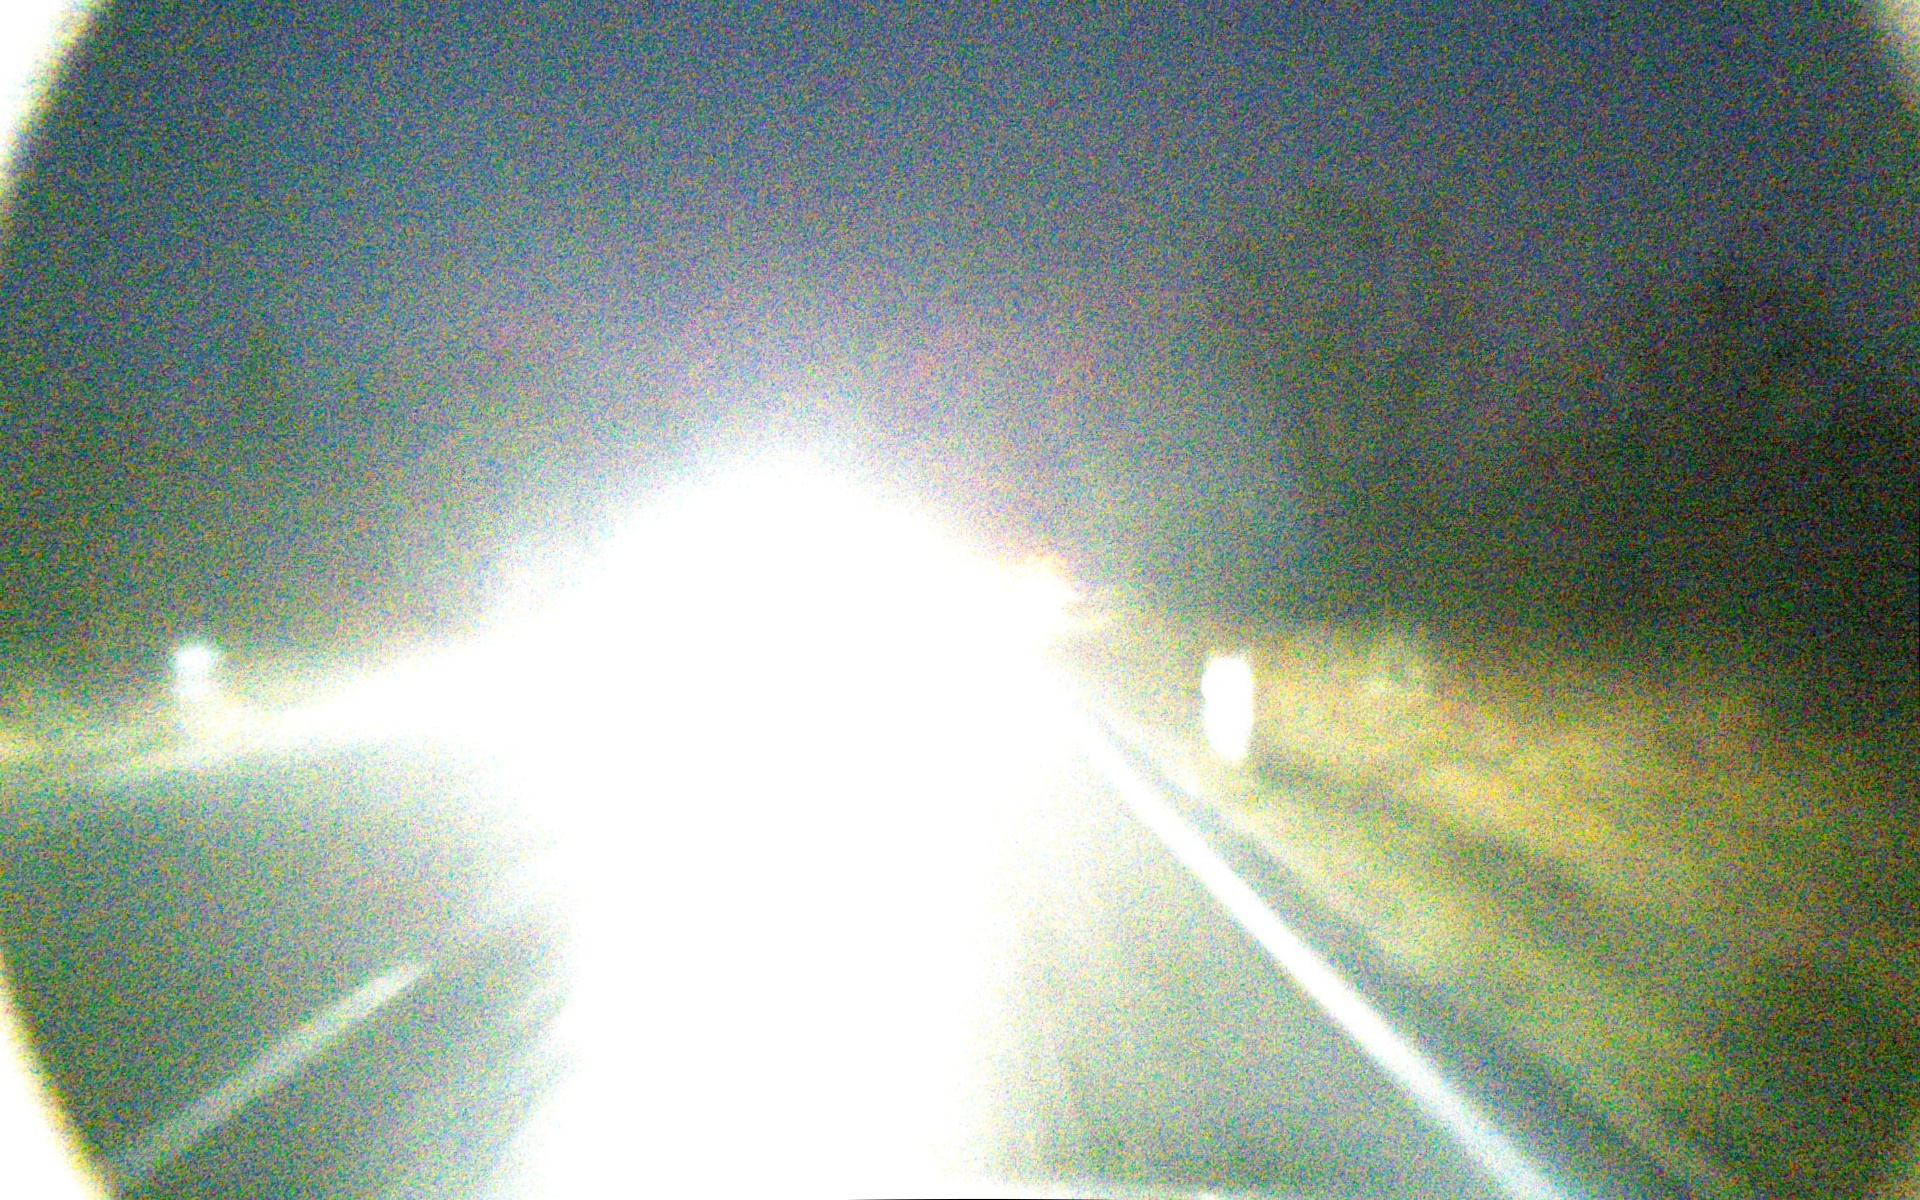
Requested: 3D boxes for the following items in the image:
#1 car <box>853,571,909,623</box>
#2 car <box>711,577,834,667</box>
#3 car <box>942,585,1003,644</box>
[{"bbox_3d":[-3.293,-0.149,69.759,1.952,2.049,4.276,-1,1,2],"label":"car"},{"bbox_3d":[-3.671,0.405,33.026,1.952,1.652,4.000,1,0,1],"label":"car"},{"bbox_3d":[0.442,0.423,52.432,1.804,1.771,4.001,0,1,2],"label":"car"}]
